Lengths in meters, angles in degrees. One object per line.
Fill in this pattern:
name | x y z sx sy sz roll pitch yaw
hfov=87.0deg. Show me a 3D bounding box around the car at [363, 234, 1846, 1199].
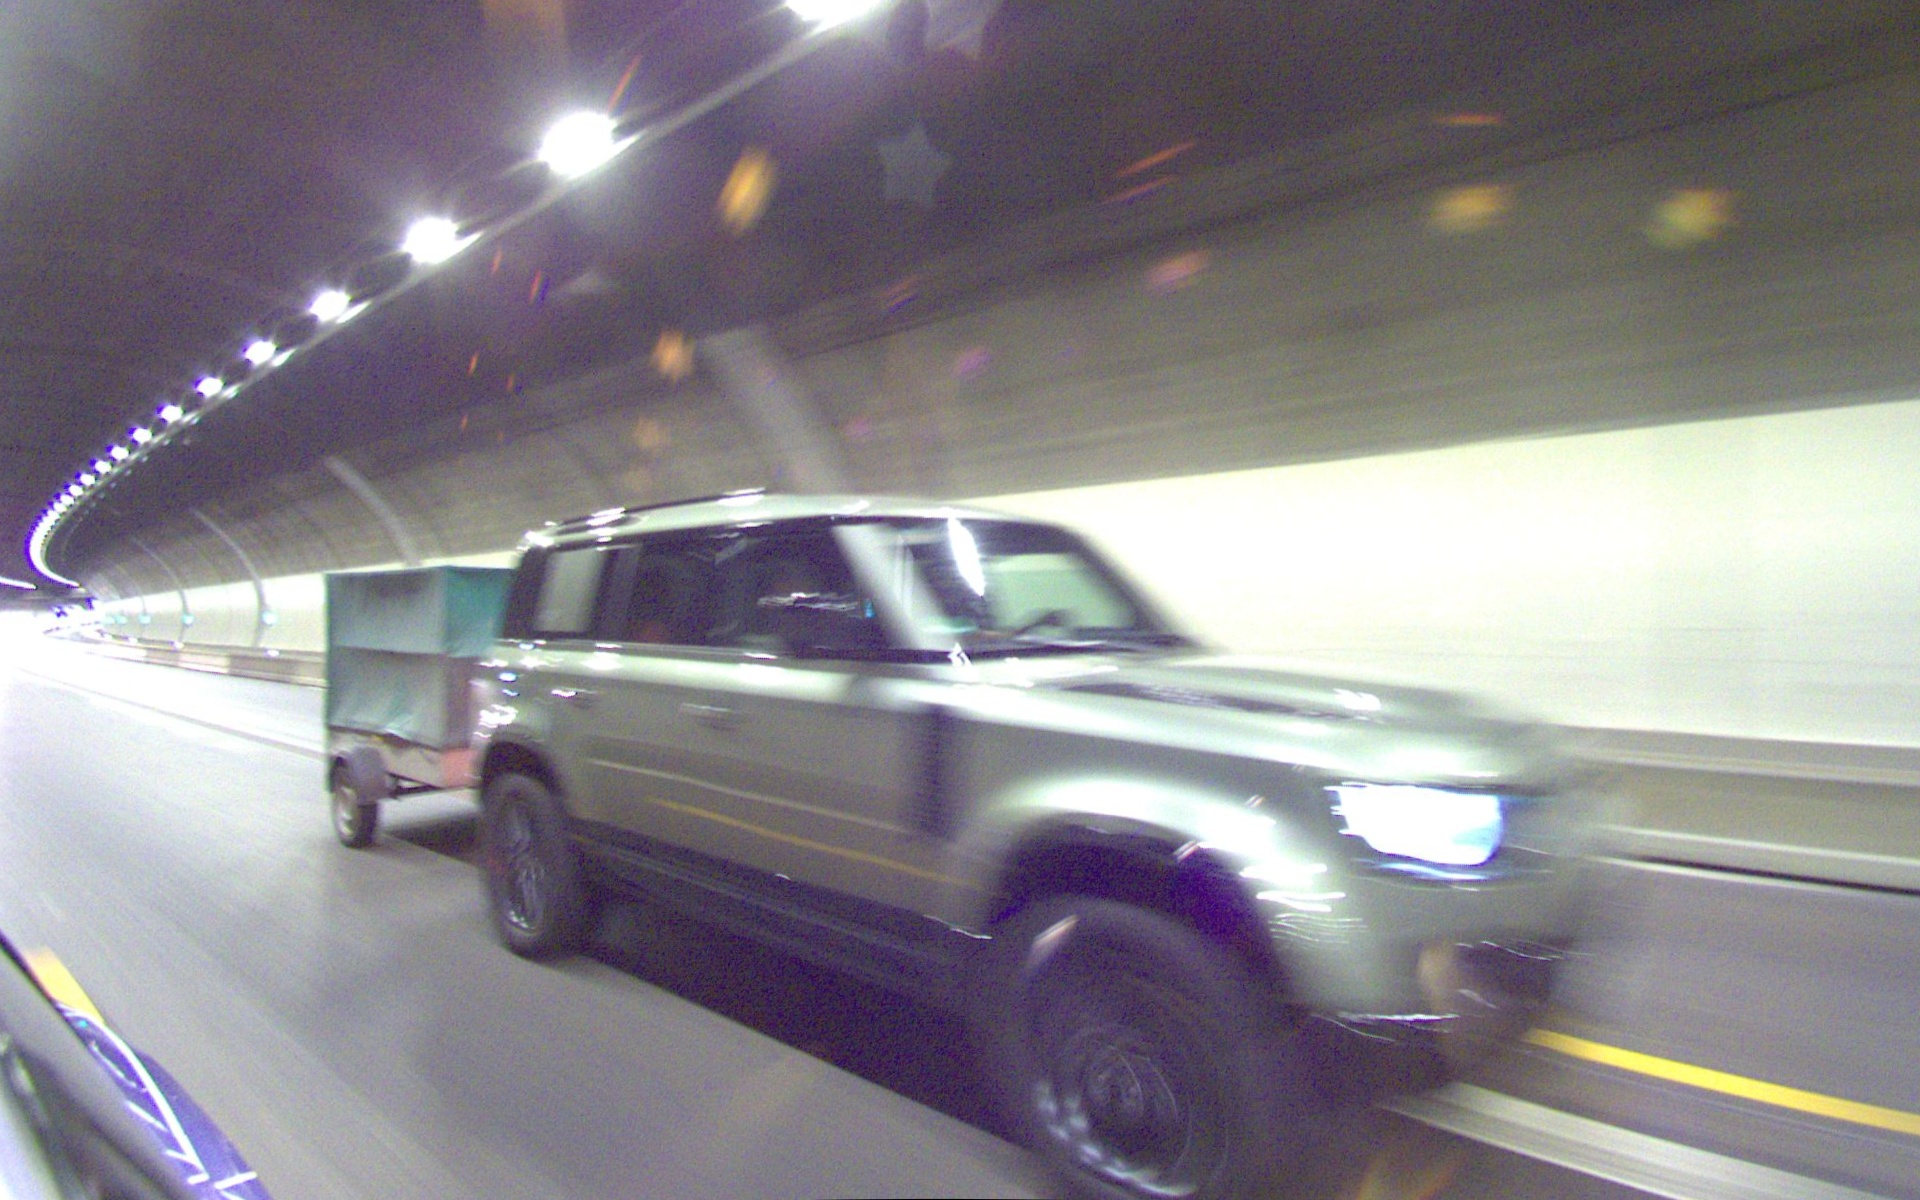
car | -0.199 0.442 3.957 5.450 1.909 1.973 -1 2 41
